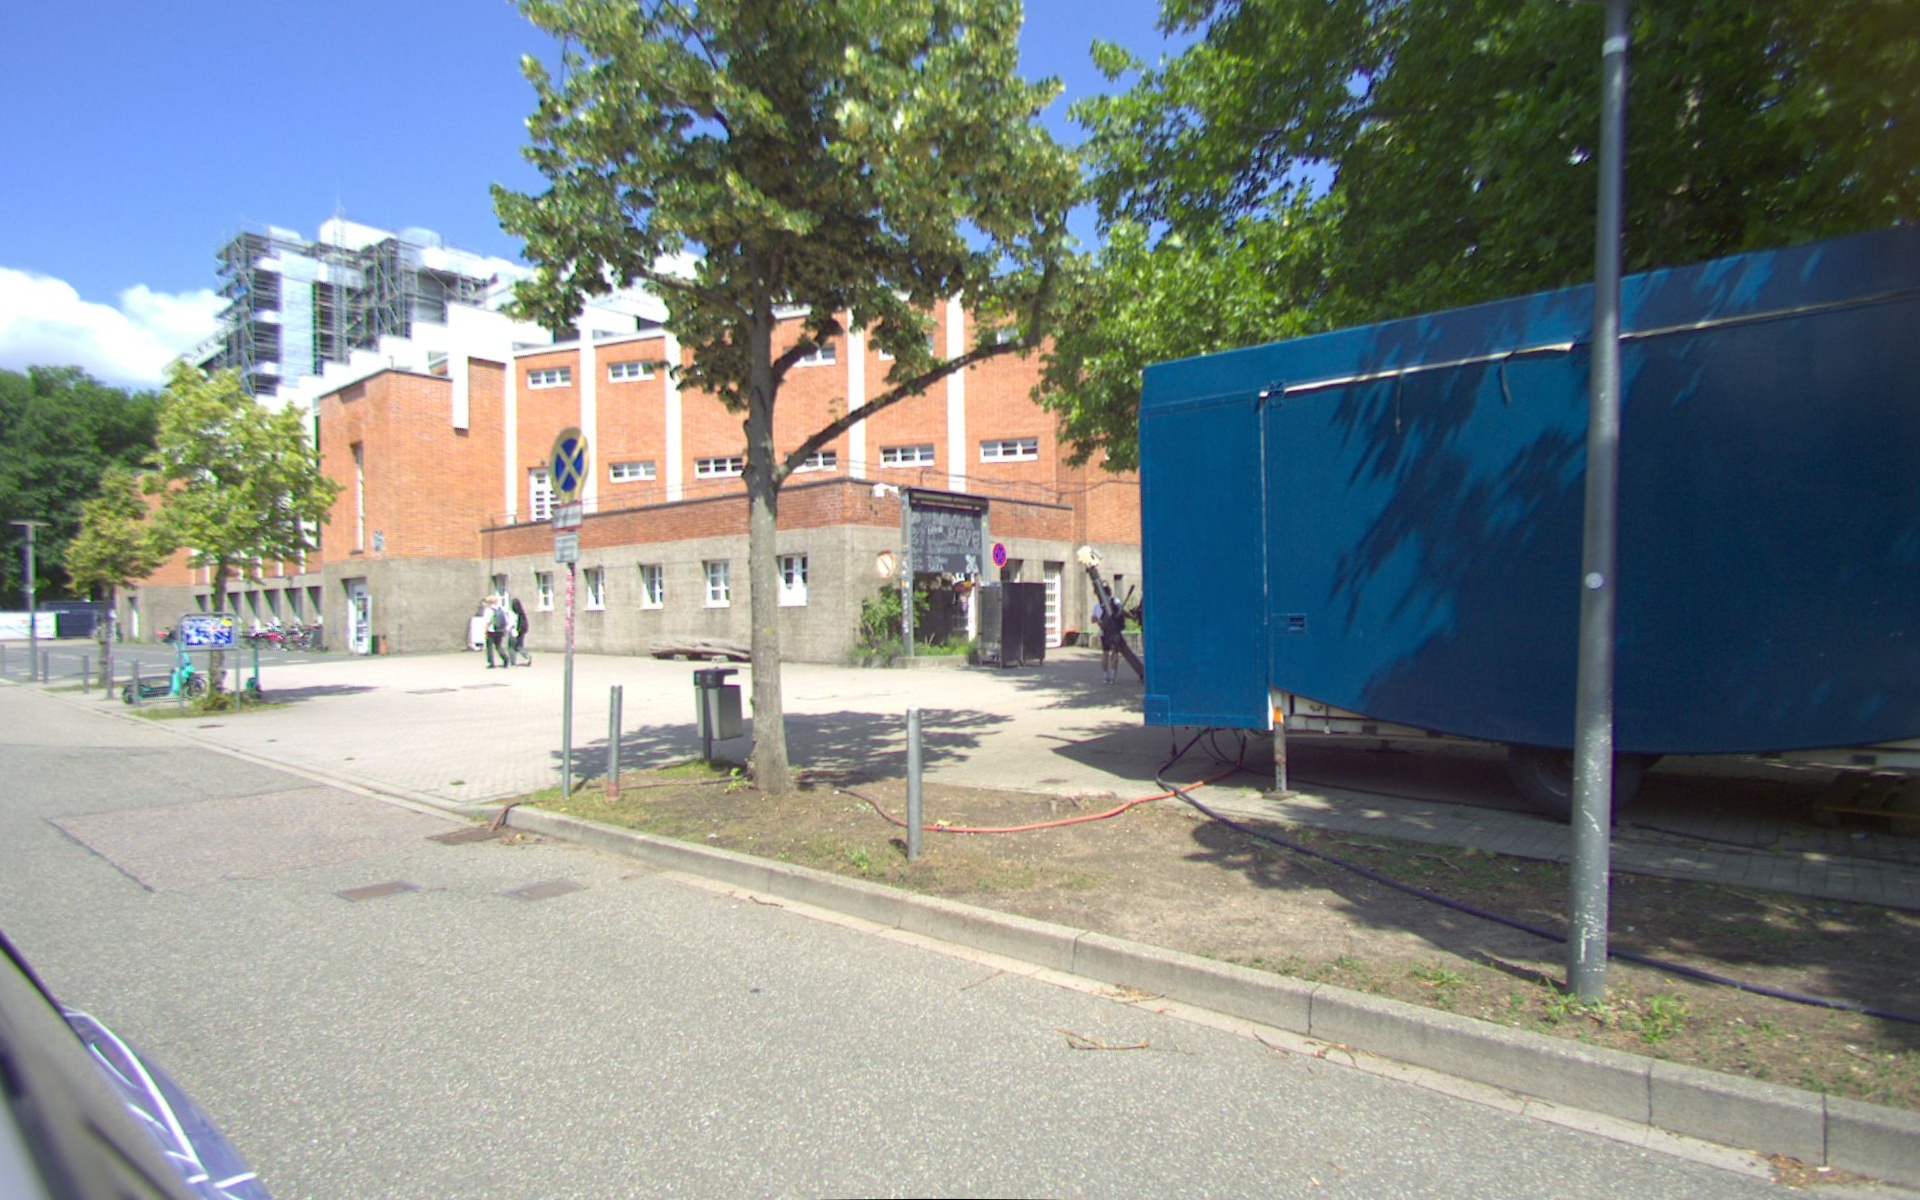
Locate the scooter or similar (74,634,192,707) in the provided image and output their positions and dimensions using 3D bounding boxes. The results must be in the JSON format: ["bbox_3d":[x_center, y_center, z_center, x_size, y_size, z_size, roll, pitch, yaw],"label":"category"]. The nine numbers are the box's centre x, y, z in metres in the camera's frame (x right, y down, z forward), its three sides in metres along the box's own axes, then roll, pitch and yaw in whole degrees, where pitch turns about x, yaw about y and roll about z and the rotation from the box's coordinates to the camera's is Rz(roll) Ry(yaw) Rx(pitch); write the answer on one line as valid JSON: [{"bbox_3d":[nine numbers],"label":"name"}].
[{"bbox_3d":[-14.962,1.263,18.348,1.548,1.234,0.567,-1,-1,-23],"label":"scooter or similar"}]

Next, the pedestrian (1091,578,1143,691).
[{"bbox_3d":[2.611,0.564,16.892,0.441,1.833,0.883,1,0,-22],"label":"pedestrian"}]

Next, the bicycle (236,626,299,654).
[{"bbox_3d":[-28.182,1.605,41.198,0.662,1.069,2.002,-2,-1,39],"label":"bicycle"}]

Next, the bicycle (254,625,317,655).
[{"bbox_3d":[-26.805,1.580,40.239,0.621,1.090,1.990,-2,-1,39],"label":"bicycle"}]

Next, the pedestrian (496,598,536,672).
[{"bbox_3d":[-10.949,0.851,24.940,0.916,1.793,0.570,-1,-1,40],"label":"pedestrian"}]

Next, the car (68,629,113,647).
[{"bbox_3d":[-59.103,2.586,68.785,0.479,1.189,2.294,-2,-1,41],"label":"car"}]

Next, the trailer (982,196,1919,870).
[{"bbox_3d":[3.445,-0.280,7.100,6.261,3.049,2.669,-1,0,40],"label":"trailer"}]

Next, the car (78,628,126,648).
[{"bbox_3d":[-55.912,2.476,65.968,0.794,1.189,2.337,-2,-1,41],"label":"car"}]

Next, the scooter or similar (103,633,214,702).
[{"bbox_3d":[-15.248,1.260,19.291,1.548,1.234,0.572,-1,-1,-23],"label":"scooter or similar"}]

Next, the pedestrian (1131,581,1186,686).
[{"bbox_3d":[3.362,0.552,17.186,0.481,1.733,0.883,1,0,-22],"label":"pedestrian"}]

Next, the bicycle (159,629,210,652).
[{"bbox_3d":[-37.736,1.959,49.271,0.529,1.038,1.931,-2,-1,39],"label":"bicycle"}]

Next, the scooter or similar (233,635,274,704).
[{"bbox_3d":[-12.846,1.237,18.391,0.556,1.158,1.352,0,-1,-38],"label":"scooter or similar"}]

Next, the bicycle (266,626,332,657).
[{"bbox_3d":[-25.151,1.563,38.530,0.592,1.134,2.000,-2,-1,41],"label":"bicycle"}]

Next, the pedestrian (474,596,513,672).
[{"bbox_3d":[-11.242,0.809,24.402,0.805,1.775,0.557,-1,-1,40],"label":"pedestrian"}]

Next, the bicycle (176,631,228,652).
[{"bbox_3d":[-36.267,1.967,48.456,0.568,0.948,1.931,-2,-1,39],"label":"bicycle"}]

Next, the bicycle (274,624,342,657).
[{"bbox_3d":[-23.897,1.481,37.141,0.666,1.134,2.002,-2,-1,39],"label":"bicycle"}]

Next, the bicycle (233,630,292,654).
[{"bbox_3d":[-29.395,1.764,42.679,0.684,0.967,1.931,-2,-1,39],"label":"bicycle"}]

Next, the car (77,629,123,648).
[{"bbox_3d":[-57.167,2.523,67.277,0.524,1.189,2.259,-2,-1,41],"label":"car"}]

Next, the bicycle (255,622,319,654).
[{"bbox_3d":[-25.984,1.466,39.086,0.439,1.134,1.999,-2,0,44],"label":"bicycle"}]

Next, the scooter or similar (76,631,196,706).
[{"bbox_3d":[-14.449,1.186,17.777,1.548,1.234,0.526,-1,-1,-23],"label":"scooter or similar"}]

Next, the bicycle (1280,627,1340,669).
[{"bbox_3d":[7.782,1.058,22.514,1.231,0.890,0.301,-1,-1,42],"label":"bicycle"}]

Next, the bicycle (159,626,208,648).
[{"bbox_3d":[-39.325,1.853,51.274,0.518,1.038,1.931,-2,-1,39],"label":"bicycle"}]

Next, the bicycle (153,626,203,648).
[{"bbox_3d":[-39.950,1.889,51.717,0.541,1.038,1.931,-2,-1,39],"label":"bicycle"}]
